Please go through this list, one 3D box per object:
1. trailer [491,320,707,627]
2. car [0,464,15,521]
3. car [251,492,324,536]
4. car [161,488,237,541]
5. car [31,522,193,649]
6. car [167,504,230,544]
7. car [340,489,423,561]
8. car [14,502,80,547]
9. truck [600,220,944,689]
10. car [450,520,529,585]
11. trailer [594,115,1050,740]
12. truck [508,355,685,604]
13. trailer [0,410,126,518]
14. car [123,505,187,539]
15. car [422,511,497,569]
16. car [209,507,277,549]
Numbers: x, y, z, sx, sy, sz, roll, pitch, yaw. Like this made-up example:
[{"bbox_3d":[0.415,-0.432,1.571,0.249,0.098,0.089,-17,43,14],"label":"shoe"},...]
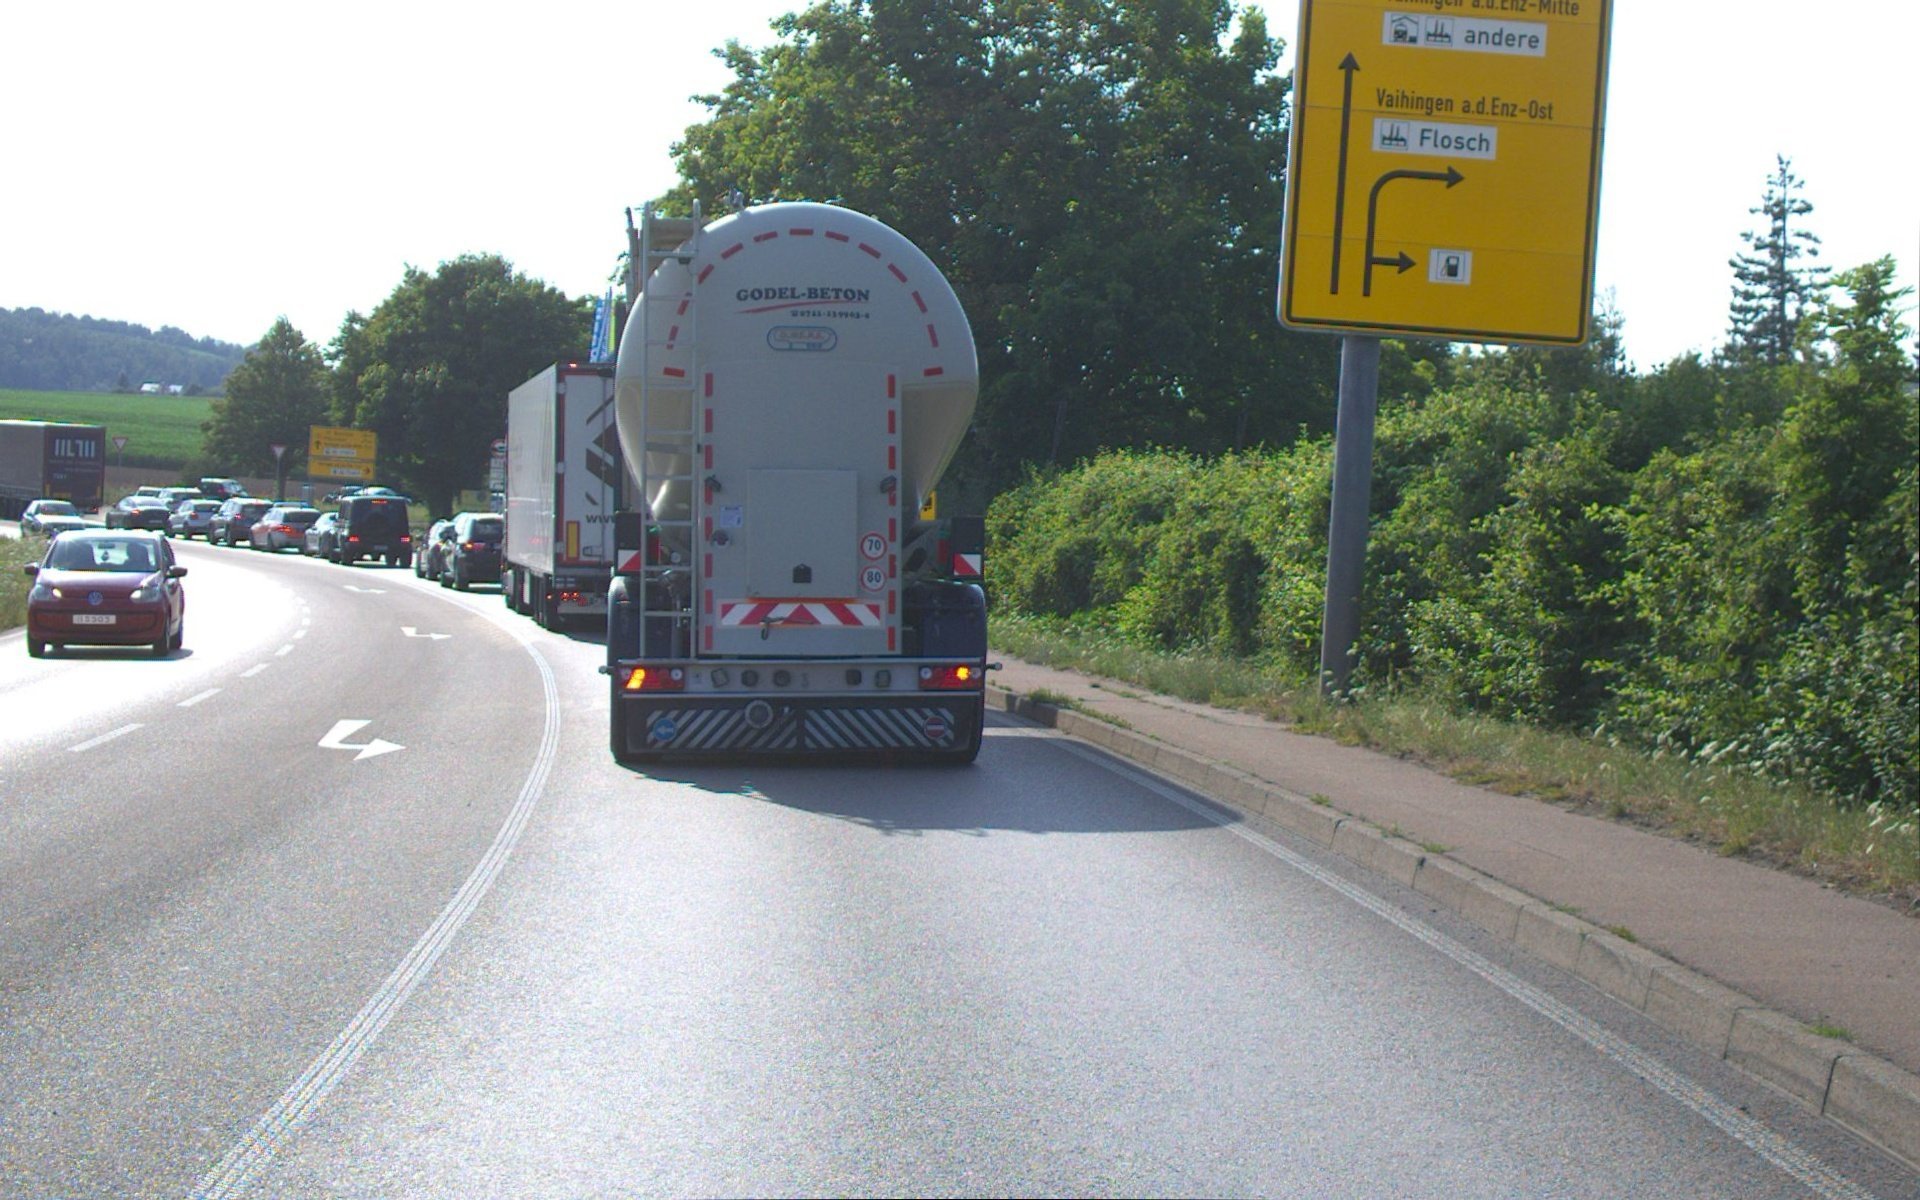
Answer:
[{"bbox_3d":[-5.955,-1.994,56.472,2.954,4.300,14.179,2,1,-6],"label":"trailer"},{"bbox_3d":[-37.532,-4.136,131.593,1.997,2.129,4.780,1,1,-22],"label":"car"},{"bbox_3d":[-21.975,-2.802,112.217,1.580,1.336,3.426,2,1,-24],"label":"car"},{"bbox_3d":[-31.046,-3.488,140.155,1.993,2.006,4.001,0,3,-28],"label":"car"},{"bbox_3d":[-10.192,-0.210,41.493,1.585,1.461,3.608,0,1,-9],"label":"car"},{"bbox_3d":[-27.903,-2.791,125.928,1.580,1.336,3.426,2,1,-24],"label":"car"},{"bbox_3d":[-16.589,-2.165,98.441,1.861,2.007,3.720,0,2,-17],"label":"car"},{"bbox_3d":[-30.354,-2.517,114.233,1.706,1.423,4.179,1,1,-20],"label":"car"},{"bbox_3d":[-1.798,-1.287,31.578,2.909,3.992,4.061,1,1,-5],"label":"truck"},{"bbox_3d":[-10.447,-1.073,76.201,1.580,1.336,3.426,2,1,-10],"label":"car"},{"bbox_3d":[-1.369,-1.217,27.193,2.909,3.992,9.932,1,1,-6],"label":"trailer"},{"bbox_3d":[-6.667,-2.178,63.016,2.951,4.288,4.932,2,1,-6],"label":"truck"},{"bbox_3d":[-39.819,-5.892,148.749,3.375,4.335,14.296,1,1,-29],"label":"trailer"},{"bbox_3d":[-30.920,-2.986,132.014,1.769,1.201,3.426,2,1,-24],"label":"car"},{"bbox_3d":[-12.310,-1.491,84.397,1.580,1.336,3.427,2,1,-12],"label":"car"},{"bbox_3d":[-24.658,-2.479,118.206,1.580,1.336,3.426,2,1,-24],"label":"car"}]
